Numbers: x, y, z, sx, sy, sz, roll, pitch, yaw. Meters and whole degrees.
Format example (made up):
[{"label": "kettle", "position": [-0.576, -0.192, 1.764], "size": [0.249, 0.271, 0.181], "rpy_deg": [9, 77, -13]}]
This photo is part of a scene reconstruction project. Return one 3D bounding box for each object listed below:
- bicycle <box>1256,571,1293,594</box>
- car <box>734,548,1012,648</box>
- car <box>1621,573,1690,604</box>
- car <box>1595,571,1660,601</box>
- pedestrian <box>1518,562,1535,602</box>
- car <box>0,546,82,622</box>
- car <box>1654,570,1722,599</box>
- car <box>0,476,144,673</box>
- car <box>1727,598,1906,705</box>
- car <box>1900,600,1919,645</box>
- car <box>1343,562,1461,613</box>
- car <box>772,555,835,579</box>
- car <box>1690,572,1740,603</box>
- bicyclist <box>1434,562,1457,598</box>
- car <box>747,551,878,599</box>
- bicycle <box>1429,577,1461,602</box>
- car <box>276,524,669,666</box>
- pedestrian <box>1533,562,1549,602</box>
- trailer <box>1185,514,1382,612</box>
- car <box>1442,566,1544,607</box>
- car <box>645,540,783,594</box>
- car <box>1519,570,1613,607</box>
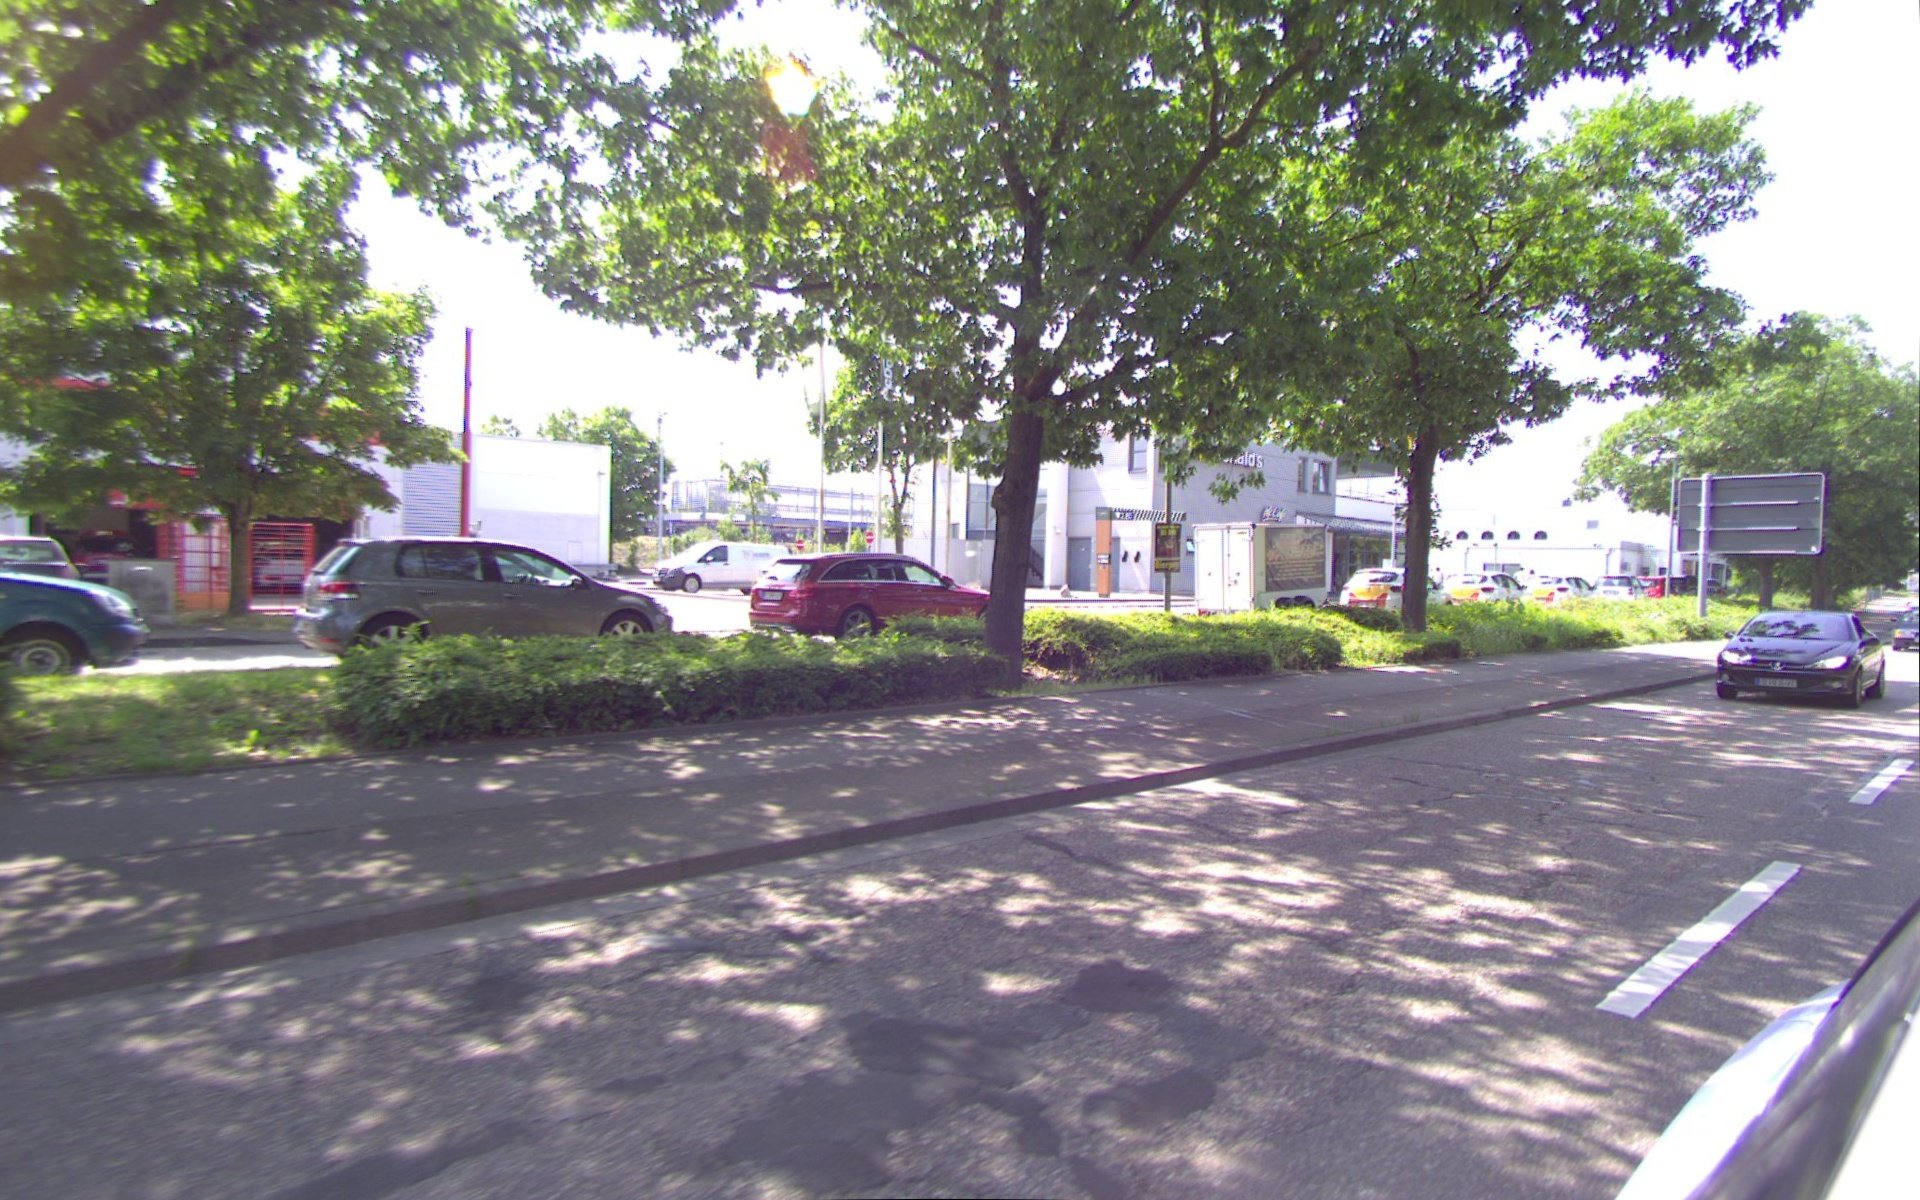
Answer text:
[{"label": "bicycle", "position": [14.377, -0.806, 46.236], "size": [2.064, 0.992, 0.590], "rpy_deg": [0, 2, -40]}, {"label": "car", "position": [-1.288, -0.052, 16.148], "size": [4.249, 1.397, 1.703], "rpy_deg": [0, 2, -42]}, {"label": "car", "position": [29.409, -0.504, 42.753], "size": [3.699, 1.268, 1.621], "rpy_deg": [-1, 2, -42]}, {"label": "car", "position": [26.392, -0.574, 39.997], "size": [2.808, 1.136, 1.509], "rpy_deg": [-1, 2, -43]}, {"label": "pedestrian", "position": [28.199, -0.898, 50.373], "size": [0.402, 1.945, 0.582], "rpy_deg": [0, 2, -41]}, {"label": "car", "position": [-16.482, -0.333, 17.606], "size": [1.727, 1.197, 3.811], "rpy_deg": [0, 2, -40]}, {"label": "car", "position": [33.241, -0.720, 46.162], "size": [4.126, 1.268, 1.622], "rpy_deg": [-1, 0, -41]}, {"label": "car", "position": [-9.356, -0.228, 8.512], "size": [3.837, 1.658, 1.704], "rpy_deg": [-1, 2, -41]}, {"label": "car", "position": [13.216, 0.697, 15.554], "size": [3.440, 1.373, 1.639], "rpy_deg": [-1, 2, -42]}, {"label": "car", "position": [30.129, 0.722, 31.118], "size": [1.706, 1.340, 3.895], "rpy_deg": [1, -1, 42]}, {"label": "car", "position": [11.875, -0.351, 27.113], "size": [3.569, 1.268, 1.621], "rpy_deg": [-1, 2, -43]}, {"label": "car", "position": [-8.997, -1.898, 58.067], "size": [1.526, 1.238, 4.235], "rpy_deg": [0, 3, -42]}, {"label": "car", "position": [38.010, -0.653, 50.959], "size": [1.901, 1.469, 5.527], "rpy_deg": [1, 2, 37]}, {"label": "bicyclist", "position": [25.320, -1.044, 52.779], "size": [0.849, 1.826, 0.779], "rpy_deg": [0, 2, -43]}, {"label": "car", "position": [-4.479, -0.763, 31.047], "size": [3.710, 1.356, 1.586], "rpy_deg": [0, 2, -41]}, {"label": "bicycle", "position": [25.303, -0.546, 52.783], "size": [2.205, 1.240, 0.692], "rpy_deg": [0, 3, -43]}, {"label": "car", "position": [-5.603, -0.079, 11.887], "size": [3.838, 1.397, 1.703], "rpy_deg": [0, 2, -42]}, {"label": "pedestrian", "position": [28.636, -0.908, 49.870], "size": [0.525, 1.945, 0.467], "rpy_deg": [0, 2, -41]}, {"label": "trailer", "position": [7.711, -0.811, 23.790], "size": [5.384, 2.081, 1.705], "rpy_deg": [0, 1, -39]}, {"label": "car", "position": [16.451, -0.440, 31.195], "size": [3.673, 1.172, 1.596], "rpy_deg": [-1, 2, -42]}, {"label": "car", "position": [-8.790, -1.155, 36.455], "size": [4.551, 1.827, 1.713], "rpy_deg": [0, 2, -42]}, {"label": "car", "position": [21.883, -0.440, 36.508], "size": [3.796, 1.268, 1.623], "rpy_deg": [-1, 2, -38]}]
